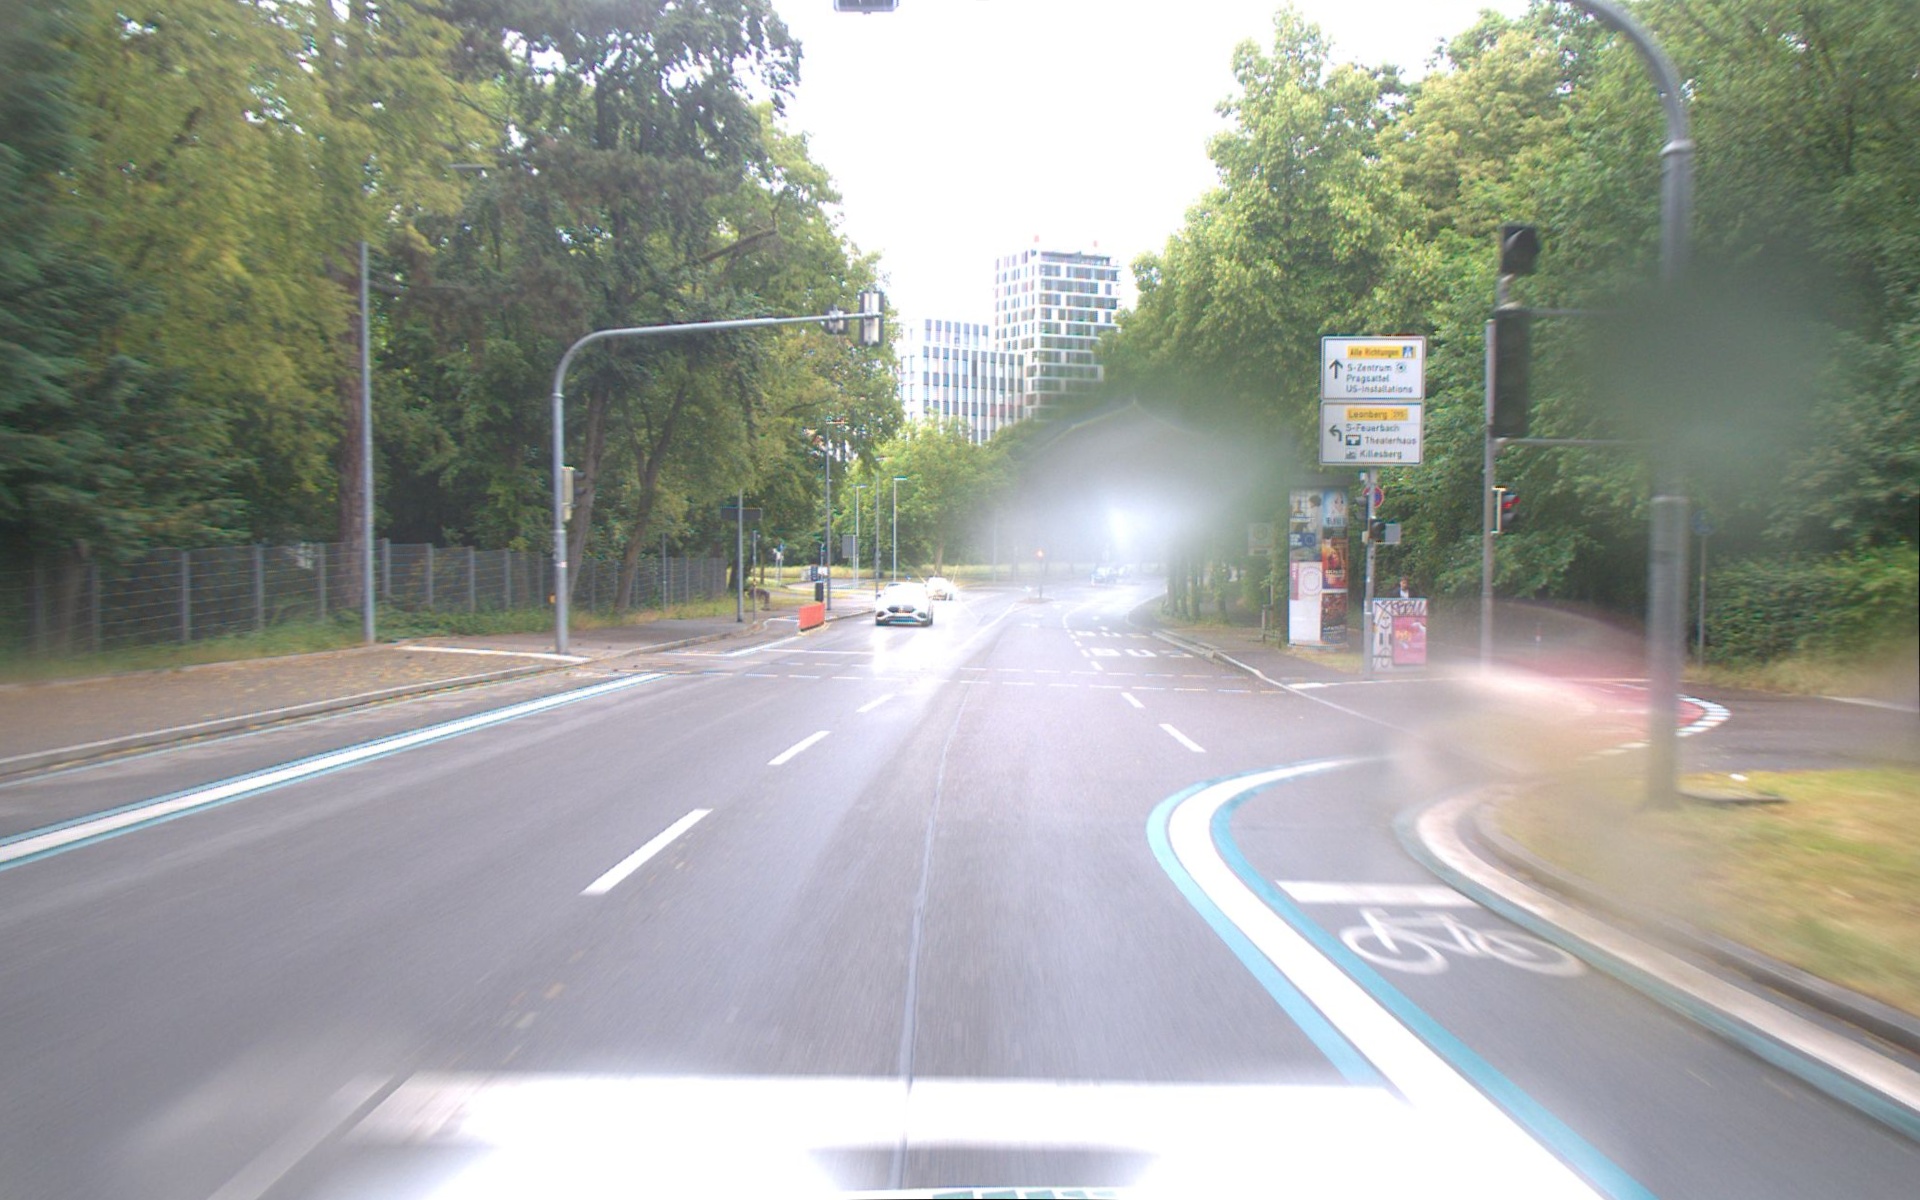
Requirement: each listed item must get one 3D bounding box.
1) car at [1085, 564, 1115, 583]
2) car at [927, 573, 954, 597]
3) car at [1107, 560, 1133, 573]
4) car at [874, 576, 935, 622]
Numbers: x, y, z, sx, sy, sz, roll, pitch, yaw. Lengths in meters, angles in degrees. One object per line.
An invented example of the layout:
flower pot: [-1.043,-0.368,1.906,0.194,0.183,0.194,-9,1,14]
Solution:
car: [13.518,-2.528,159.742,1.952,1.715,4.002,1,1,18]
car: [-1.319,-1.068,112.807,1.568,1.467,4.002,2,2,2]
car: [16.937,-3.527,174.980,1.771,1.309,3.741,1,1,20]
car: [-1.961,-0.060,59.296,1.805,1.482,4.502,1,2,3]
